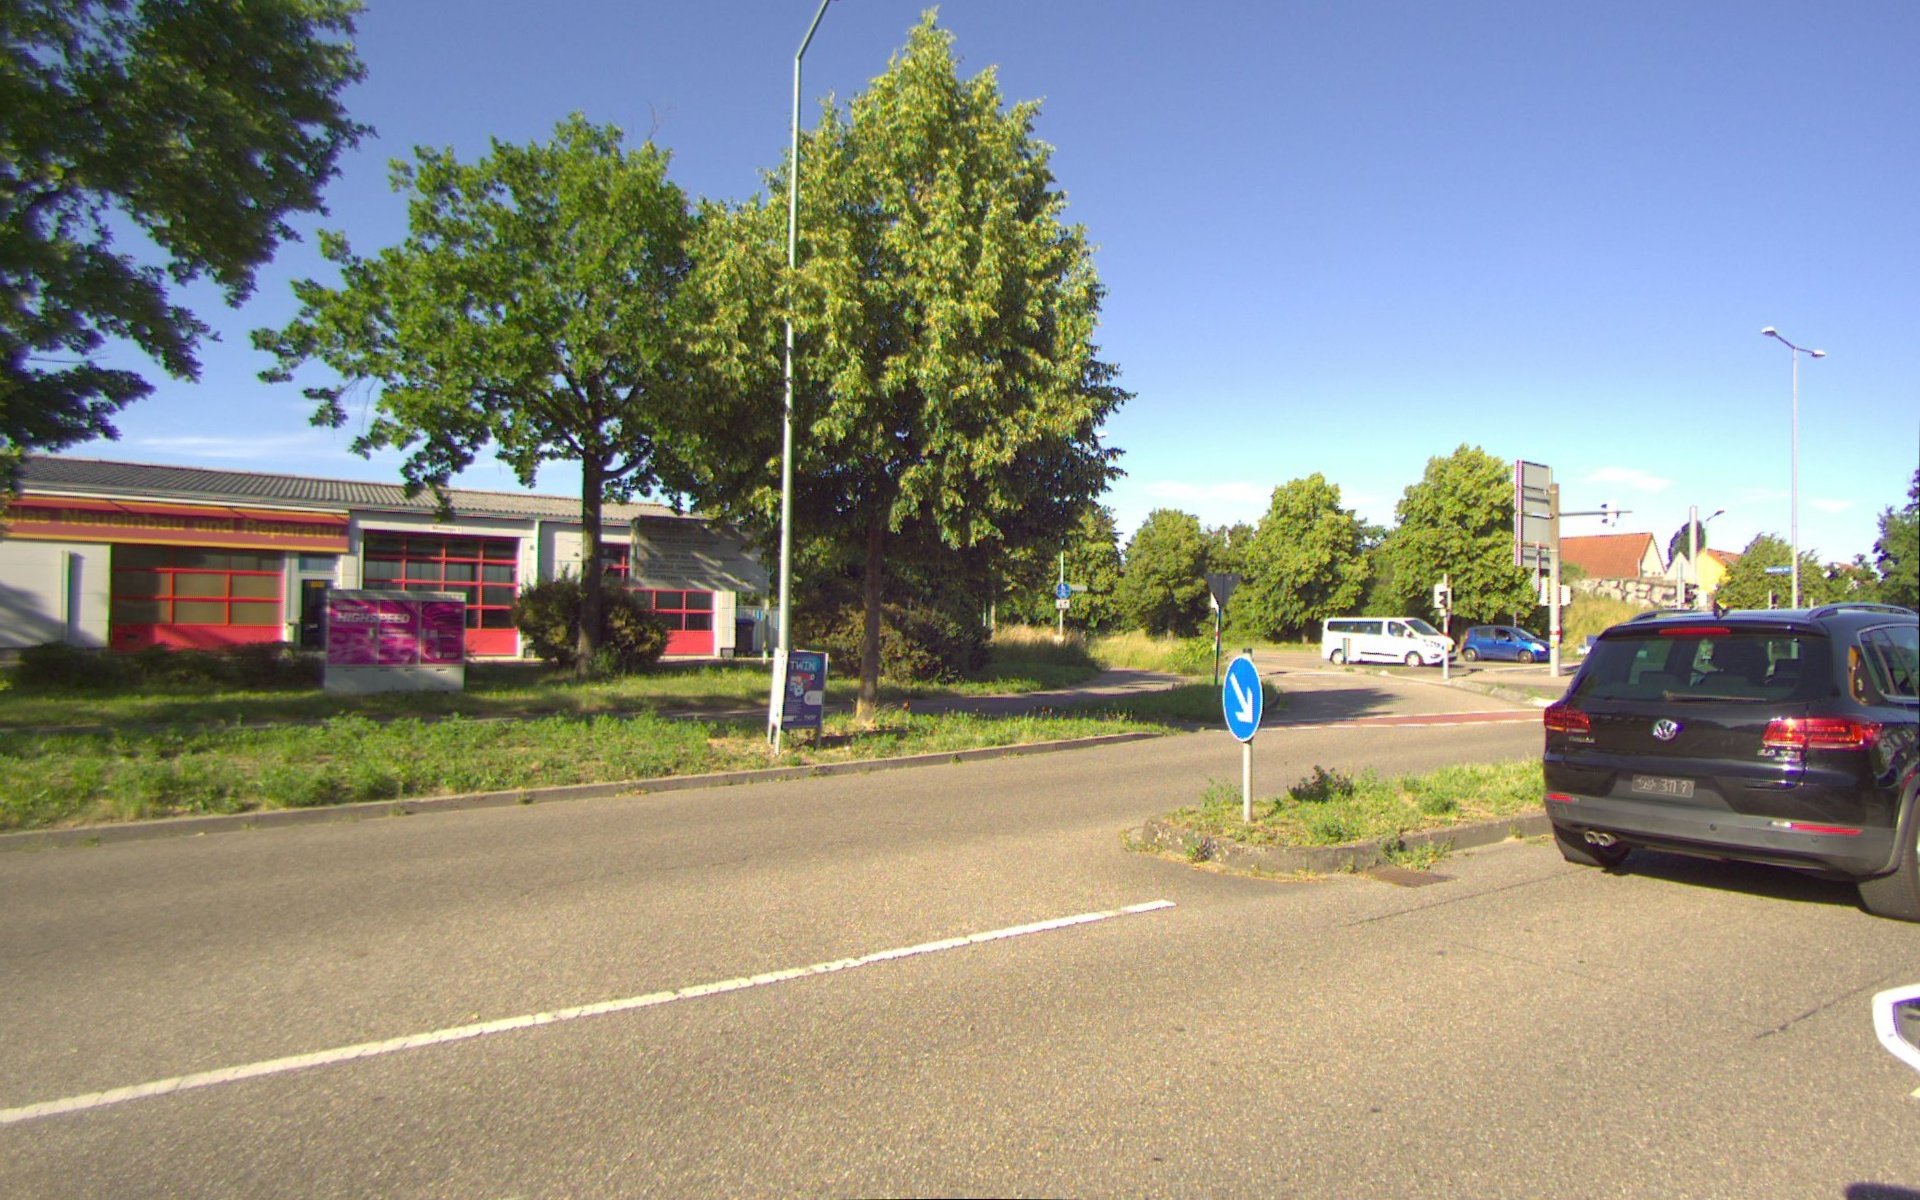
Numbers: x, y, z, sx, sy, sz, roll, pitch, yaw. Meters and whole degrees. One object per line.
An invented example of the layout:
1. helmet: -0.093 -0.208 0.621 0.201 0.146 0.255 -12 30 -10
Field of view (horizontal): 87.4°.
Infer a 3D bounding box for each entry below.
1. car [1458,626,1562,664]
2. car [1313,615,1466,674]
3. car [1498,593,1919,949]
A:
1. car: 23.769 1.921 43.503 1.733 1.581 3.559 2 -2 -35
2. car: 17.254 1.737 40.610 2.160 2.146 5.350 2 -1 -35
3. car: 5.505 0.886 6.548 3.955 1.675 1.763 1 -3 -31
